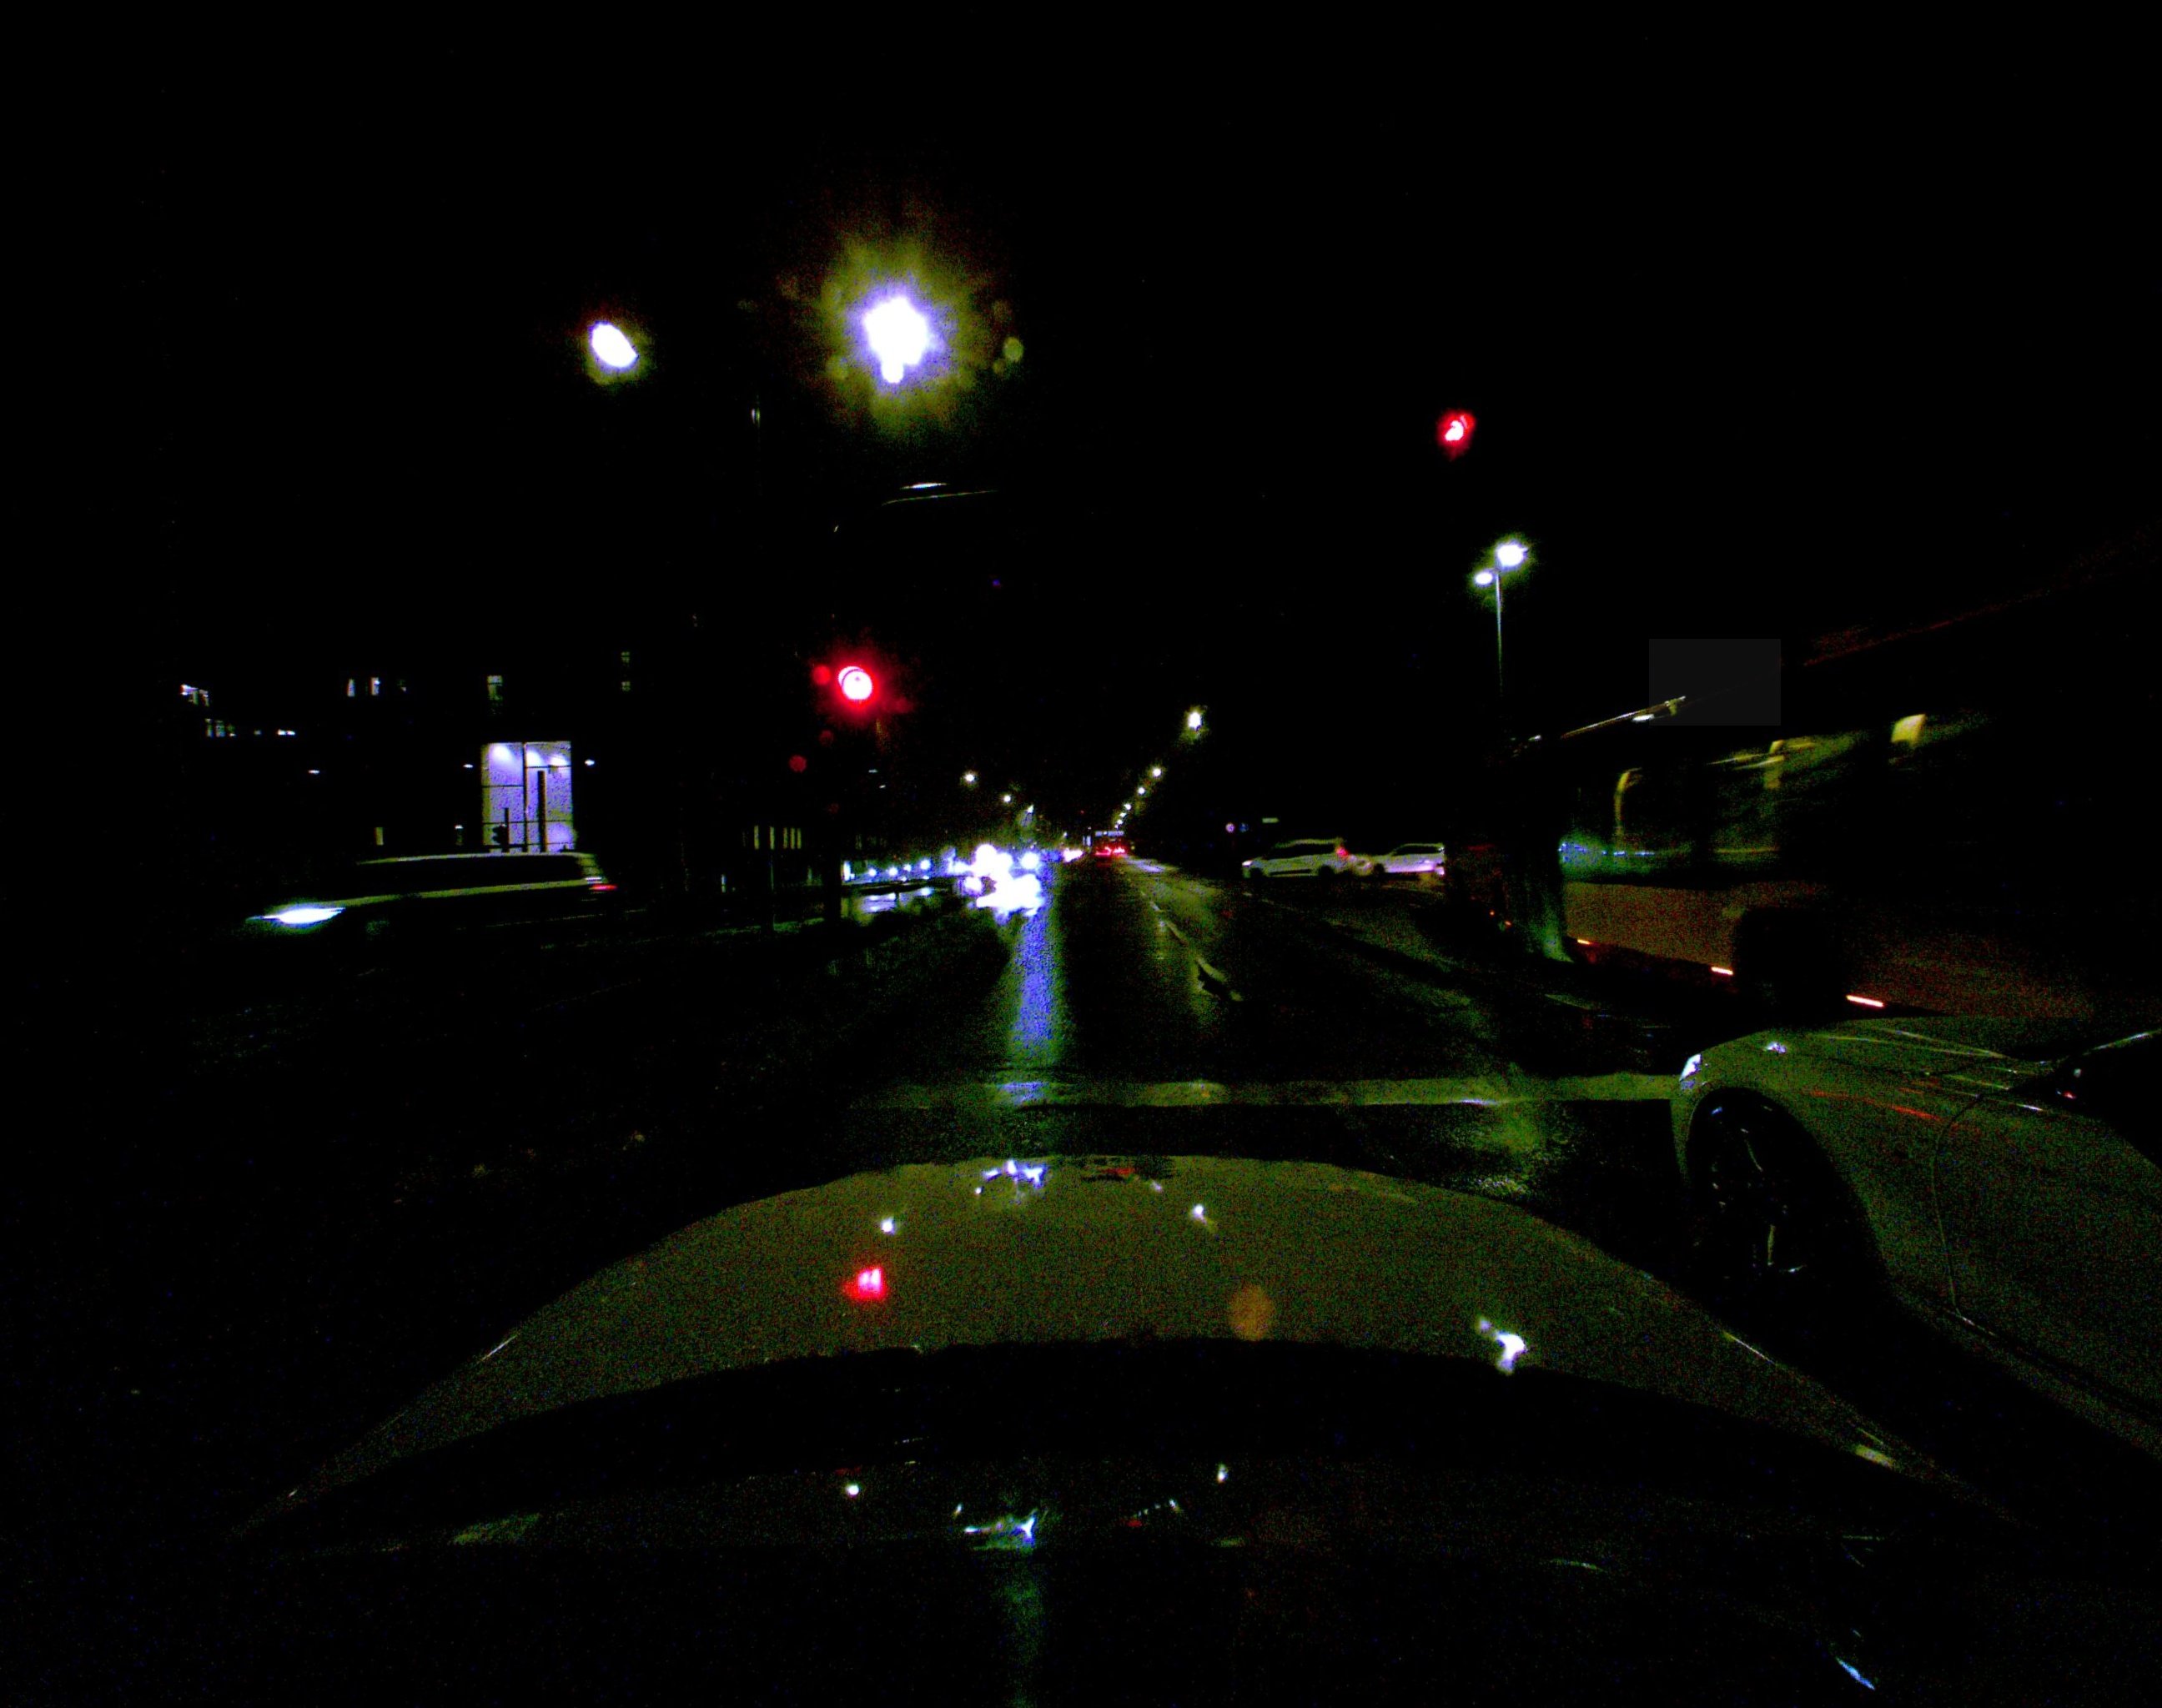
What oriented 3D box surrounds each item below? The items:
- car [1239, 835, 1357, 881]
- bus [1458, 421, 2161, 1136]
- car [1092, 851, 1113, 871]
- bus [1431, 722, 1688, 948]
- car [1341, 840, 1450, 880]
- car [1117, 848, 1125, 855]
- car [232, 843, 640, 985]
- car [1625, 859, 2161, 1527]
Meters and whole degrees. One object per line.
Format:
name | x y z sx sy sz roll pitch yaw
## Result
car | 9.319 0.185 35.102 4.567 1.874 1.808 -1 -1 33
bus | 6.546 -0.357 7.356 2.754 3.123 9.780 0 0 7
car | 2.332 0.765 88.254 2.127 2.145 4.930 0 -1 2
bus | 8.796 -0.287 16.317 2.745 3.123 9.812 0 0 20
car | 13.864 0.278 36.074 4.376 1.679 1.806 -1 -1 21
car | 10.812 -0.703 220.516 1.986 1.759 4.001 0 -1 2
car | -10.722 0.837 14.121 1.975 1.984 5.140 -2 0 27
car | 3.125 0.714 1.304 1.710 1.404 4.351 0 0 2
